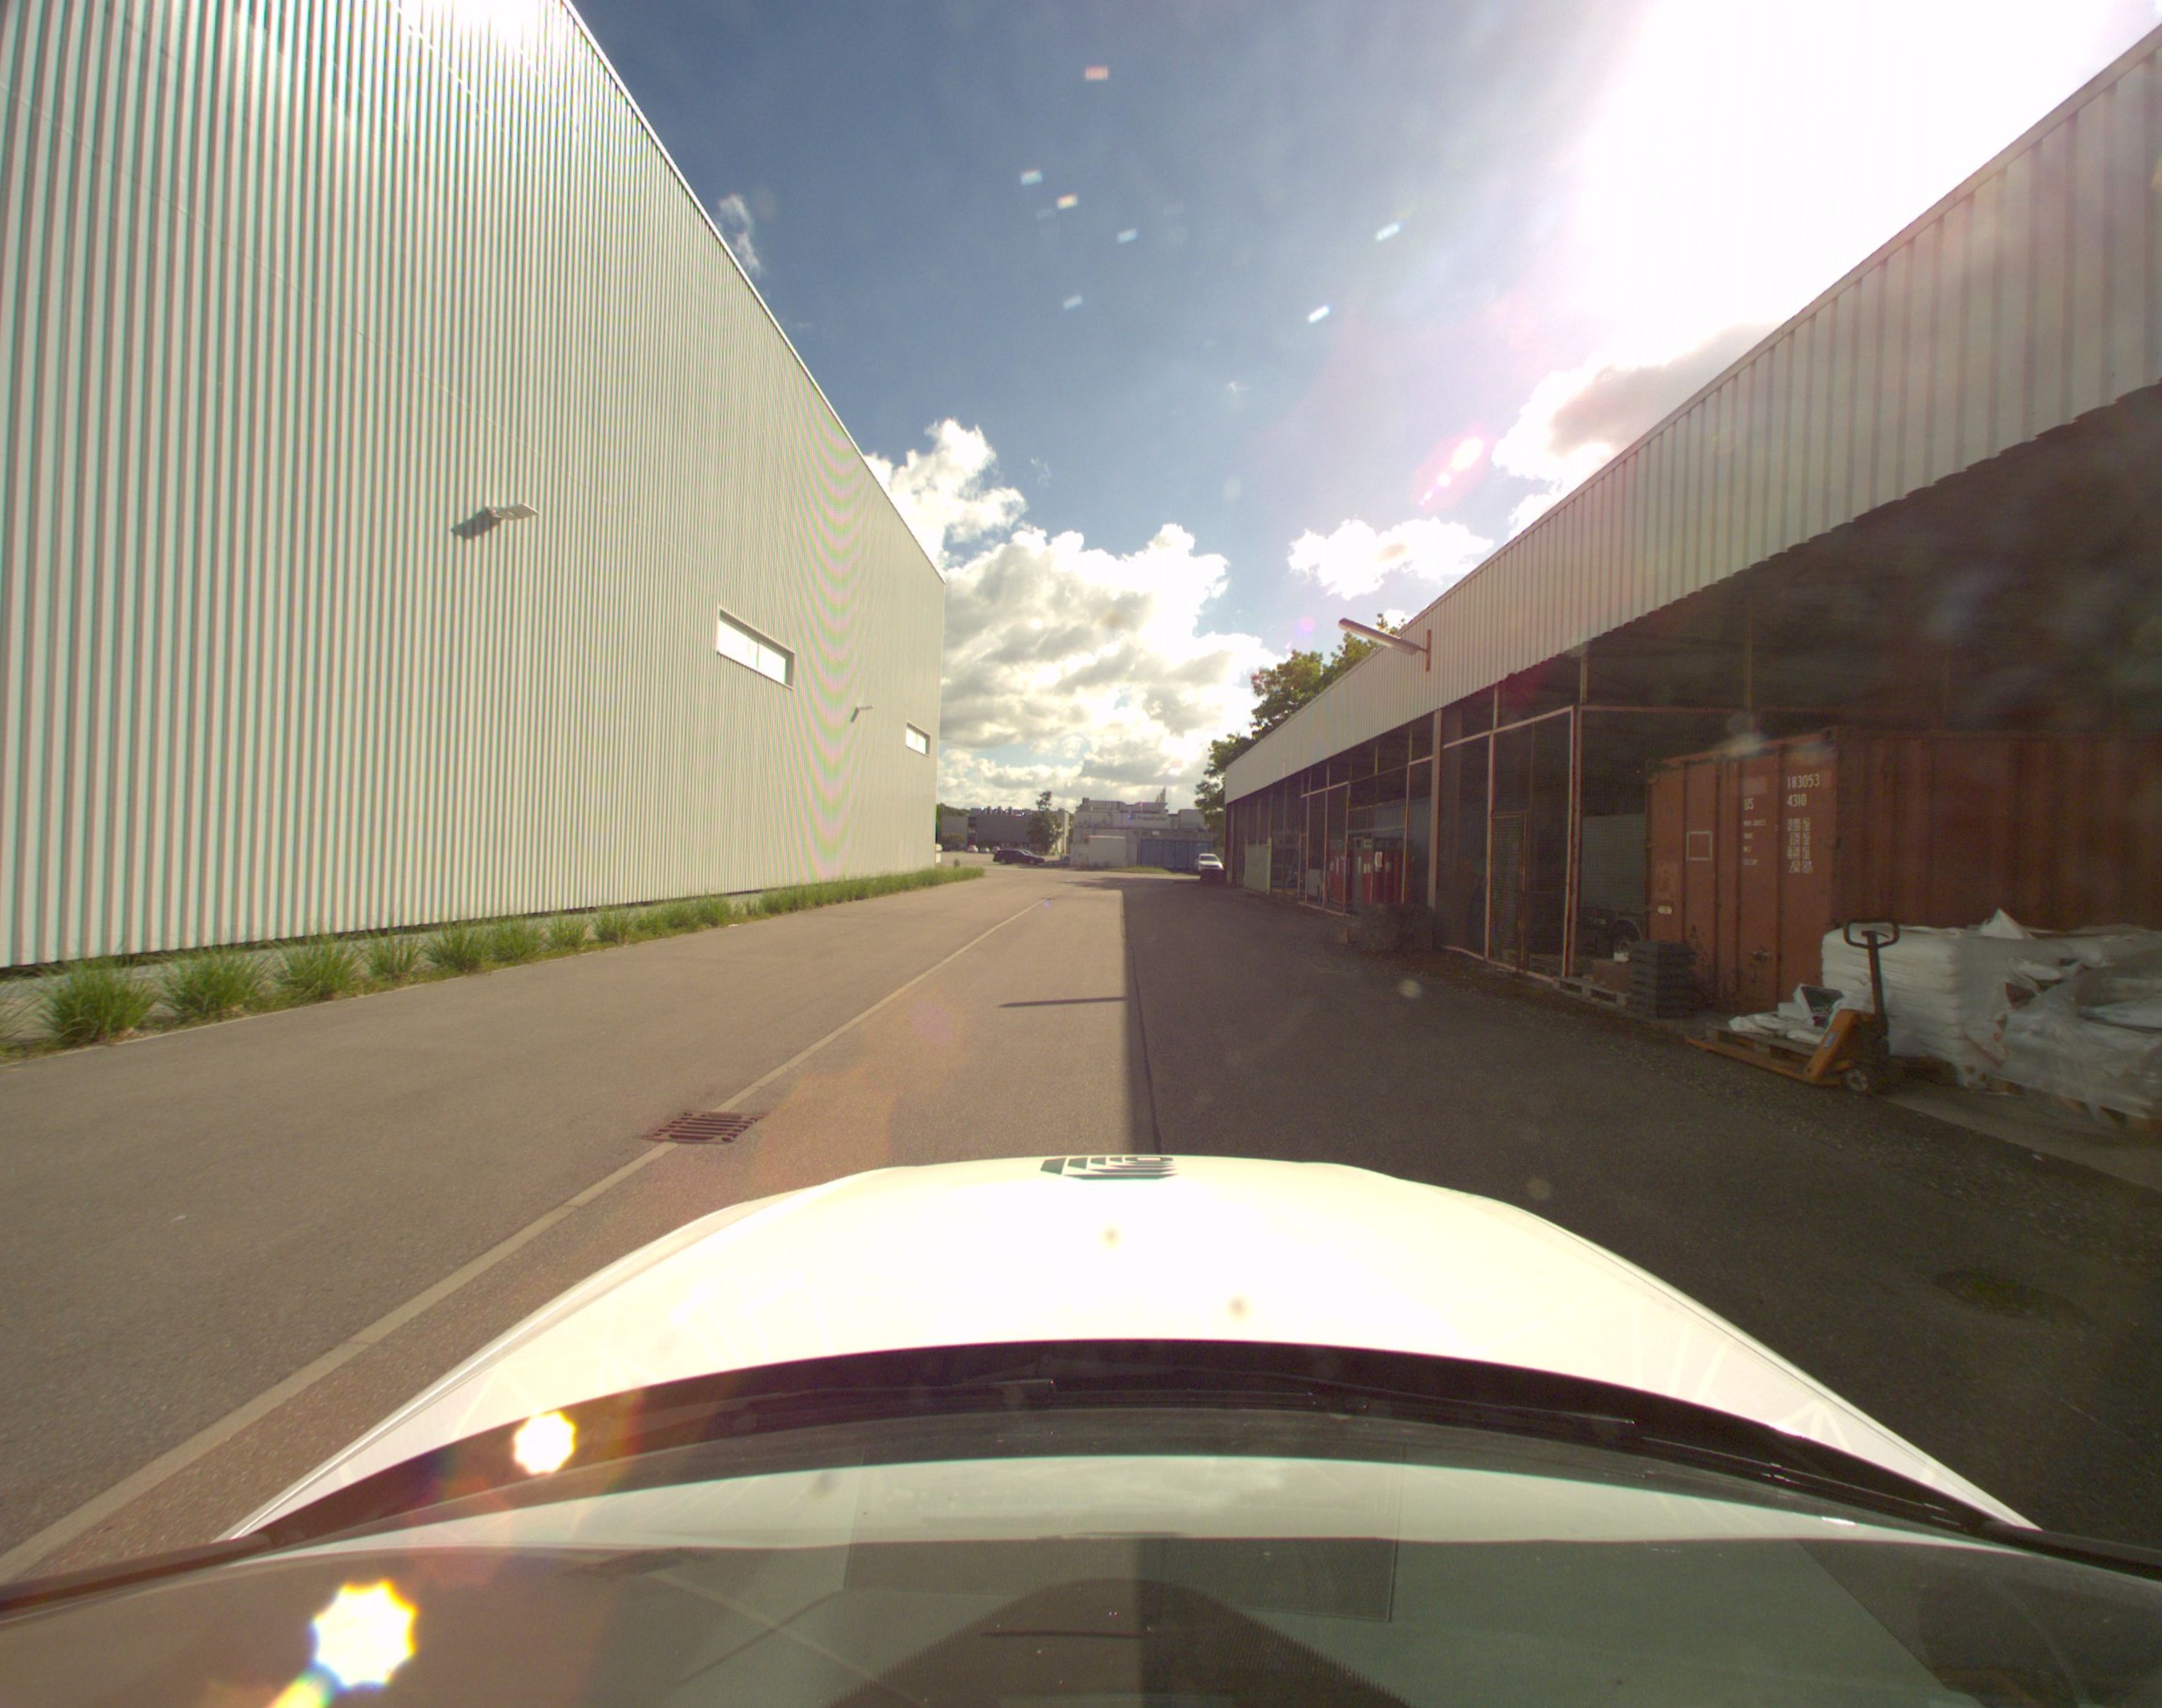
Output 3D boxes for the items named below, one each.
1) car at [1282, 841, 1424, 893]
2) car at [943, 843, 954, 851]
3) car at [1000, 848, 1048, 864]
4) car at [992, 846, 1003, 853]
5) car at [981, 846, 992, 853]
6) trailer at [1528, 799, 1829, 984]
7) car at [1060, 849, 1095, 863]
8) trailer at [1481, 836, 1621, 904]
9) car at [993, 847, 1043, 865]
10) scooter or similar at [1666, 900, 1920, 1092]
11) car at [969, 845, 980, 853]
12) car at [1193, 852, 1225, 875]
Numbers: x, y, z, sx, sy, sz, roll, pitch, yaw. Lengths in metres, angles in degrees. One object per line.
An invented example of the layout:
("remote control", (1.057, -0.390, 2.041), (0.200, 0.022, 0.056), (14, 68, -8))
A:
("car", (11.261, 0.525, 33.987), (5.153, 1.918, 2.276), (2, 0, -3))
("car", (-28.433, -1.513, 175.139), (1.873, 1.537, 4.032), (0, 0, -2))
("car", (-5.591, 0.199, 80.880), (4.511, 1.443, 1.905), (2, -2, 2))
("car", (-18.003, -0.910, 175.131), (1.871, 1.537, 4.035), (0, 0, 0))
("car", (-20.332, -0.922, 174.981), (1.871, 1.537, 4.035), (0, 0, 0))
("trailer", (7.903, 0.440, 11.207), (1.572, 2.143, 3.521), (0, 0, 0))
("car", (-0.443, 0.234, 105.234), (4.262, 1.569, 1.988), (2, -2, 2))
("trailer", (15.924, 0.505, 27.789), (3.389, 2.138, 2.467), (1, 0, 4))
("car", (-5.974, 0.201, 77.630), (4.511, 1.443, 1.988), (2, -2, 2))
("scooter or similar", (5.105, 0.946, 5.979), (0.518, 1.134, 1.593), (1, -1, 2))
("car", (-22.881, -1.010, 175.212), (1.871, 1.689, 4.035), (0, 0, 0))
("car", (10.075, 0.738, 64.521), (1.973, 1.593, 4.343), (2, 1, 2))
